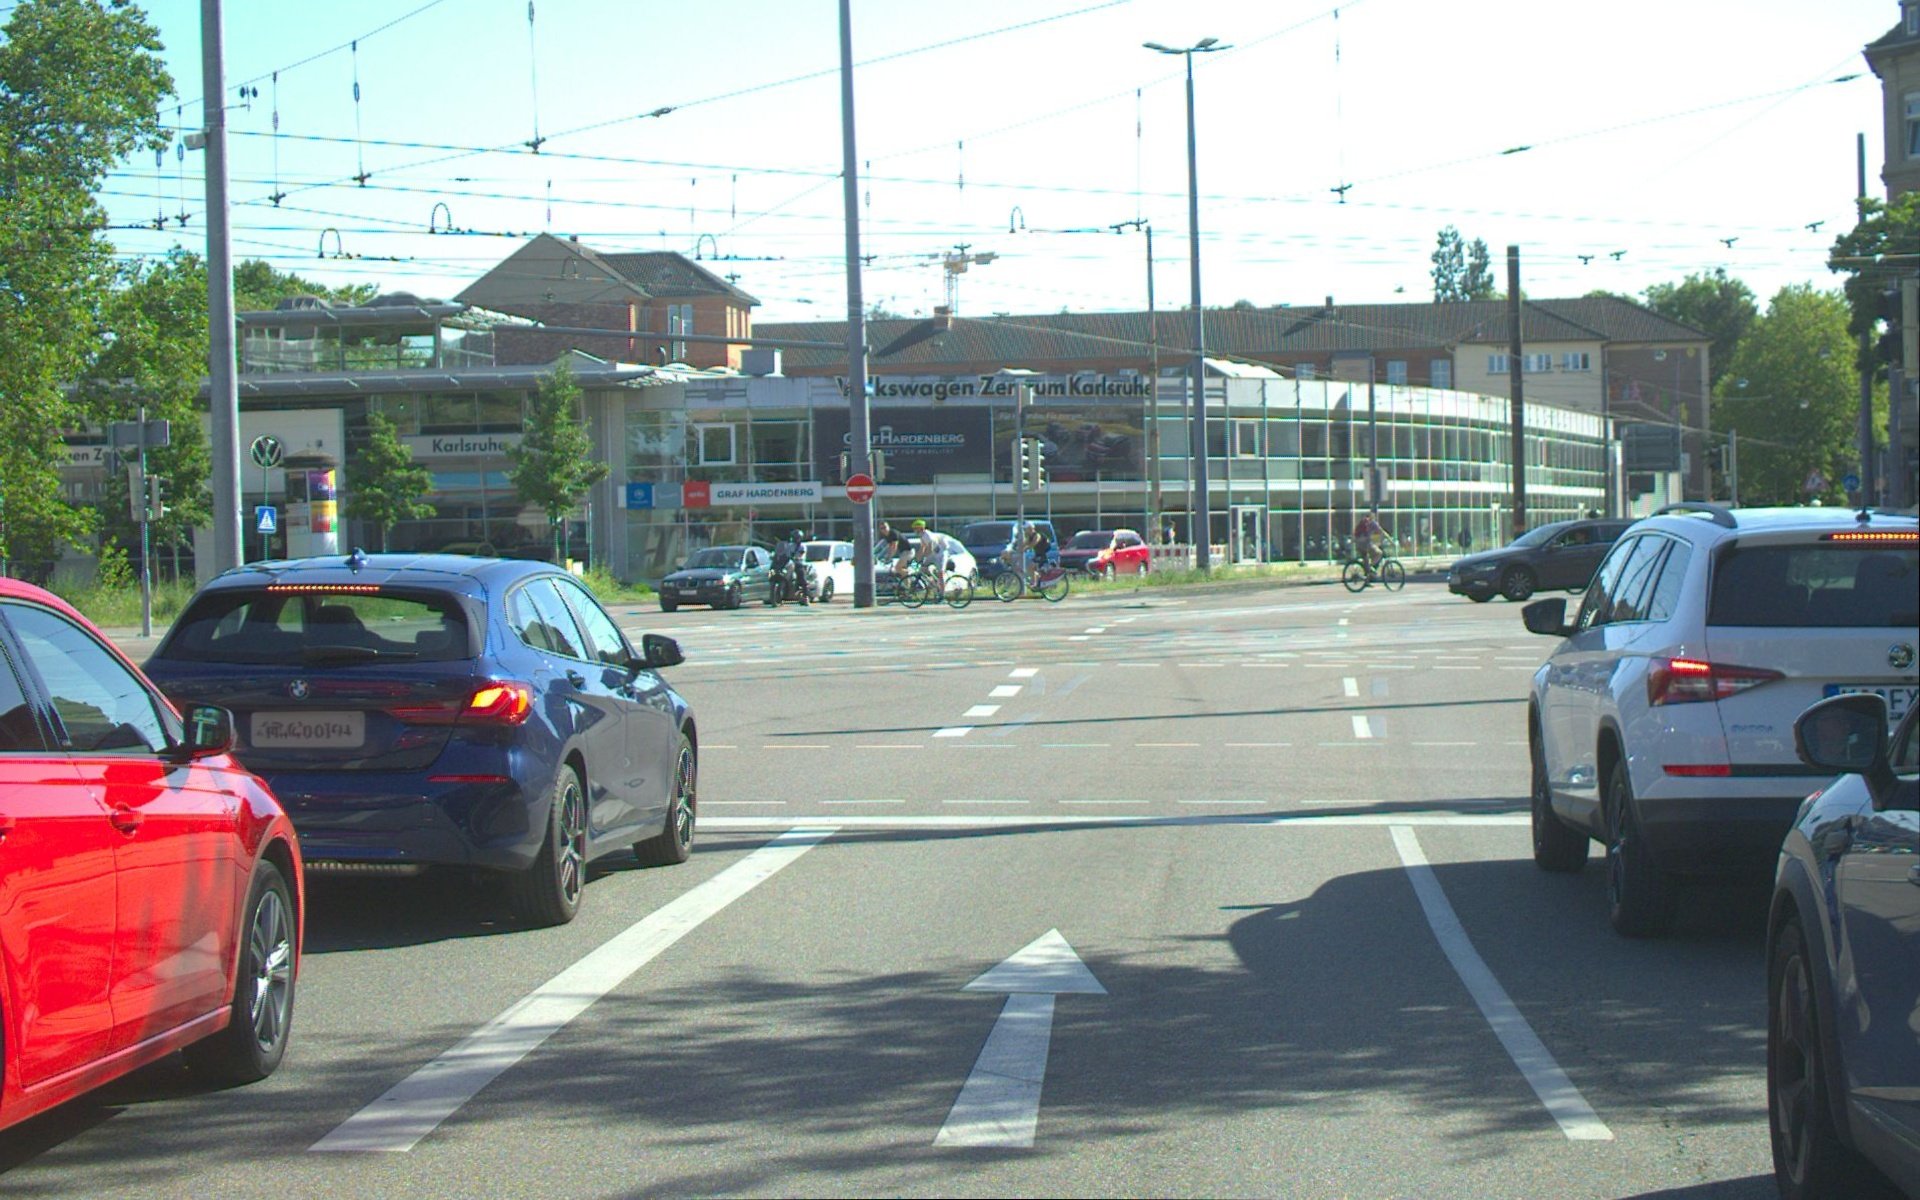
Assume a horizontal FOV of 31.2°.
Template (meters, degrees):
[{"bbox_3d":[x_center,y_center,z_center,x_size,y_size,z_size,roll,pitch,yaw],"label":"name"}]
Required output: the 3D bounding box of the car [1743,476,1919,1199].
[{"bbox_3d":[2.606,0.597,5.936,1.877,1.612,3.797,0,1,4],"label":"car"}]

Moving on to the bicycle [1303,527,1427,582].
[{"bbox_3d":[9.208,-1.038,78.188,2.645,1.184,0.948,-1,3,-14],"label":"bicycle"}]

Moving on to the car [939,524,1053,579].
[{"bbox_3d":[1.015,-1.335,94.453,1.727,1.437,4.180,2,1,22],"label":"car"}]

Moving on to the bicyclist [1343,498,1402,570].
[{"bbox_3d":[9.378,-1.503,78.194,1.062,1.578,0.948,-1,3,-14],"label":"bicyclist"}]

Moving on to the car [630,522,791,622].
[{"bbox_3d":[-5.526,-0.650,76.534,1.996,2.006,3.996,1,3,22],"label":"car"}]

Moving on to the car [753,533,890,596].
[{"bbox_3d":[-3.294,-0.859,82.662,1.727,1.437,4.180,-1,1,22],"label":"car"}]

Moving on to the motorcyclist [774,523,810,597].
[{"bbox_3d":[-3.696,-0.876,75.692,0.550,1.615,0.744,-1,1,18],"label":"motorcyclist"}]

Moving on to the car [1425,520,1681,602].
[{"bbox_3d":[11.079,-0.727,64.259,4.358,1.437,1.731,1,1,-16],"label":"car"}]

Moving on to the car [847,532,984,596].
[{"bbox_3d":[-1.002,-0.857,80.328,1.727,1.437,4.180,-1,1,22],"label":"car"}]

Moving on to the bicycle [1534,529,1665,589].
[{"bbox_3d":[13.583,-0.877,73.016,2.645,1.184,0.948,-2,3,-21],"label":"bicycle"}]

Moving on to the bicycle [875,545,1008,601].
[{"bbox_3d":[-0.379,-0.554,69.535,2.643,1.091,0.969,-1,1,-2],"label":"bicycle"}]

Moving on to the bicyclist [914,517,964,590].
[{"bbox_3d":[-0.431,-0.946,69.530,0.962,1.444,0.969,-1,1,-2],"label":"bicyclist"}]

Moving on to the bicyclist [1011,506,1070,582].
[{"bbox_3d":[1.719,-1.203,73.538,1.062,1.578,0.948,-1,3,-14],"label":"bicyclist"}]

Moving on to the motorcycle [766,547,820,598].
[{"bbox_3d":[-3.682,-0.606,75.737,0.562,1.091,1.834,-1,1,18],"label":"motorcycle"}]

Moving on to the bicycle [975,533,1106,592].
[{"bbox_3d":[1.726,-0.803,73.544,2.645,1.184,0.948,-1,3,-14],"label":"bicycle"}]

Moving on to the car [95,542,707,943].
[{"bbox_3d":[-2.214,0.492,14.622,1.725,1.437,3.798,1,1,4],"label":"car"}]

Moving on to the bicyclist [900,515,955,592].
[{"bbox_3d":[-0.684,-0.973,72.039,0.985,1.598,0.759,-1,1,-13],"label":"bicyclist"}]

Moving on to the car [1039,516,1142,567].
[{"bbox_3d":[3.864,-1.712,101.235,1.727,1.437,4.180,2,1,22],"label":"car"}]

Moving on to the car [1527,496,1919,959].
[{"bbox_3d":[3.353,0.421,13.815,1.877,1.612,3.624,0,1,6],"label":"car"}]

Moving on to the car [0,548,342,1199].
[{"bbox_3d":[-2.760,0.608,8.139,1.672,1.437,3.721,1,1,4],"label":"car"}]

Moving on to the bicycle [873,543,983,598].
[{"bbox_3d":[-0.670,-0.622,72.053,2.177,1.091,0.759,-1,1,-13],"label":"bicycle"}]
